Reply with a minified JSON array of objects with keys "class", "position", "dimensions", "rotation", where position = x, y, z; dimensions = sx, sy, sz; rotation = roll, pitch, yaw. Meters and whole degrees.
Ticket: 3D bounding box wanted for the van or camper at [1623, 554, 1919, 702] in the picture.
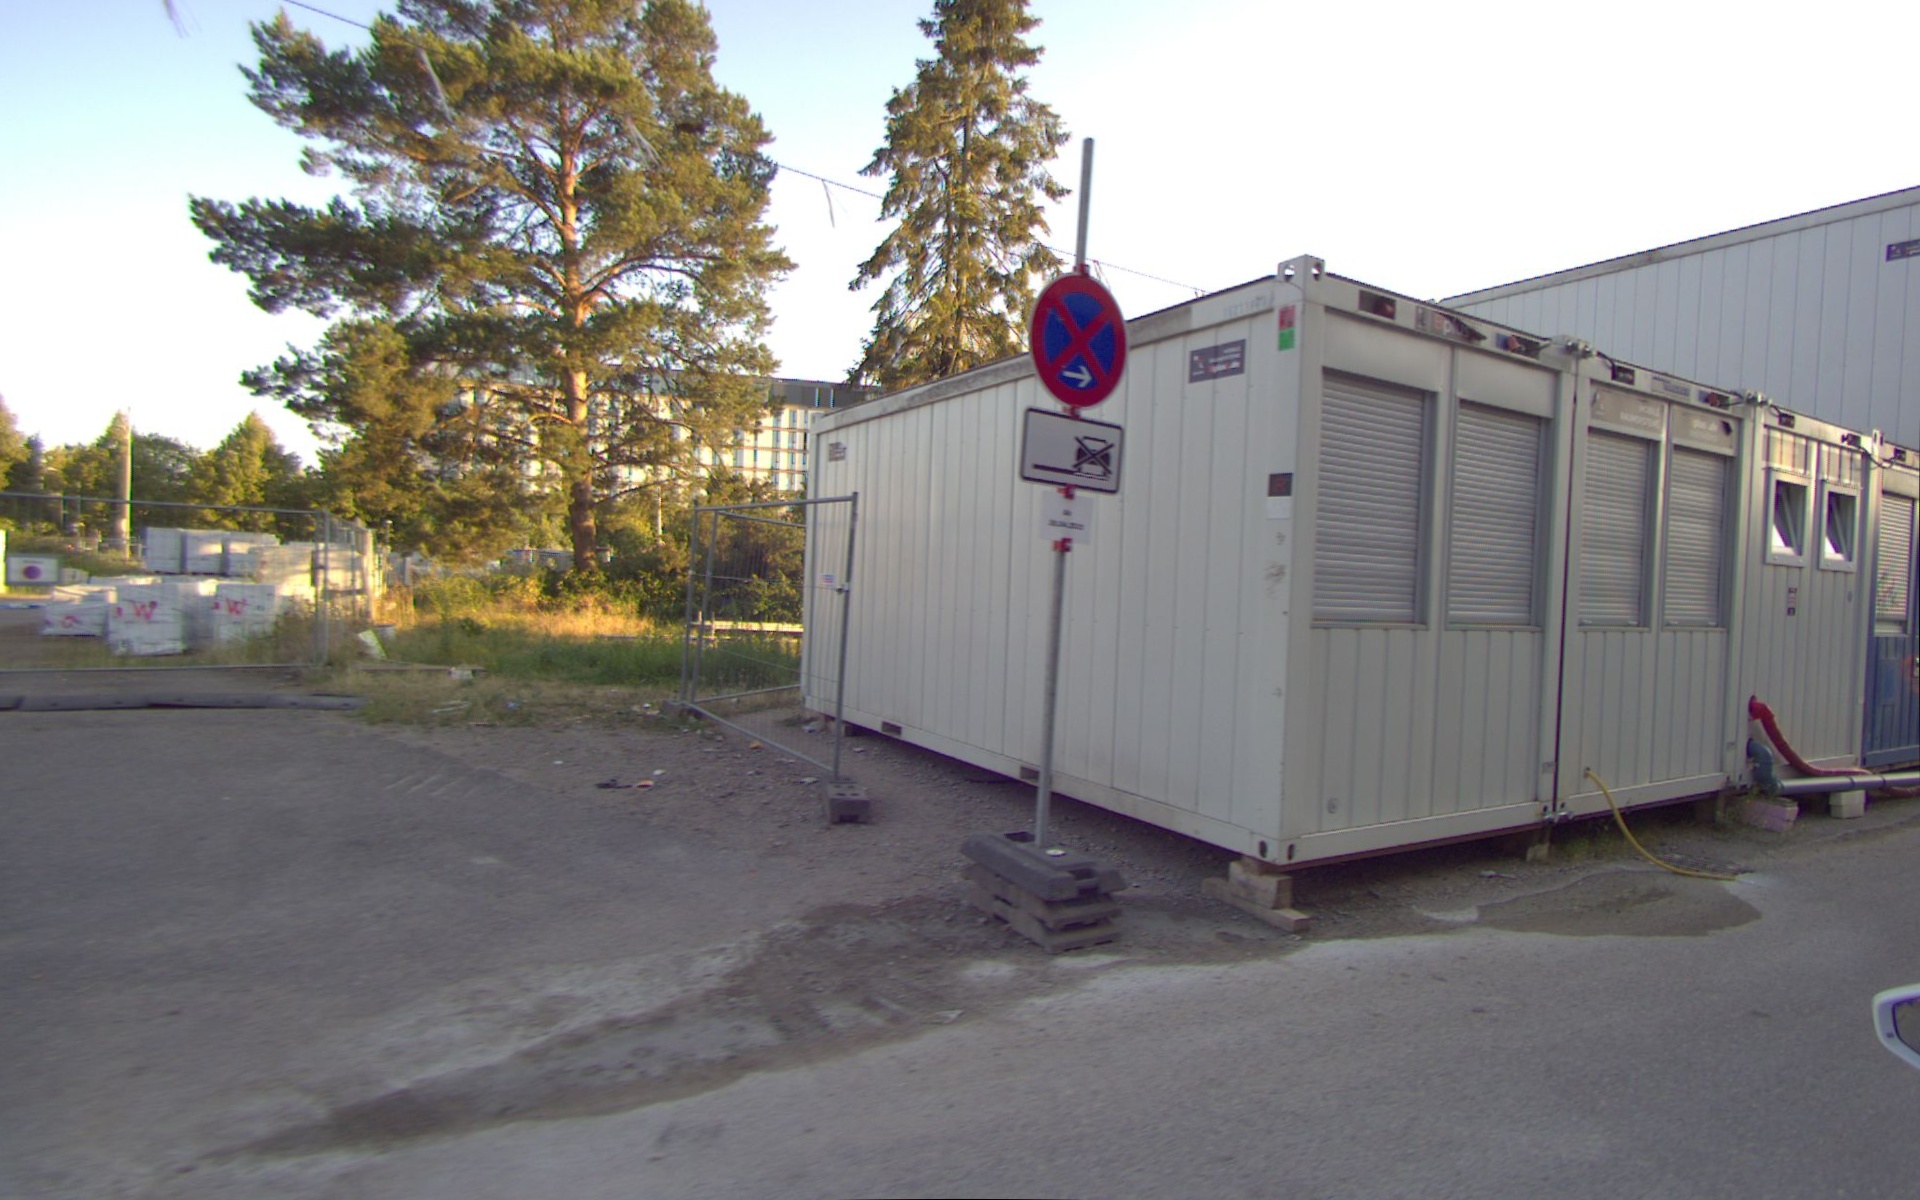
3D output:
[{"class":"van or camper","position":[20.399,0.582,22.770],"dimensions":[2.563,3.089,8.726],"rotation":[2,0,-29]}]
